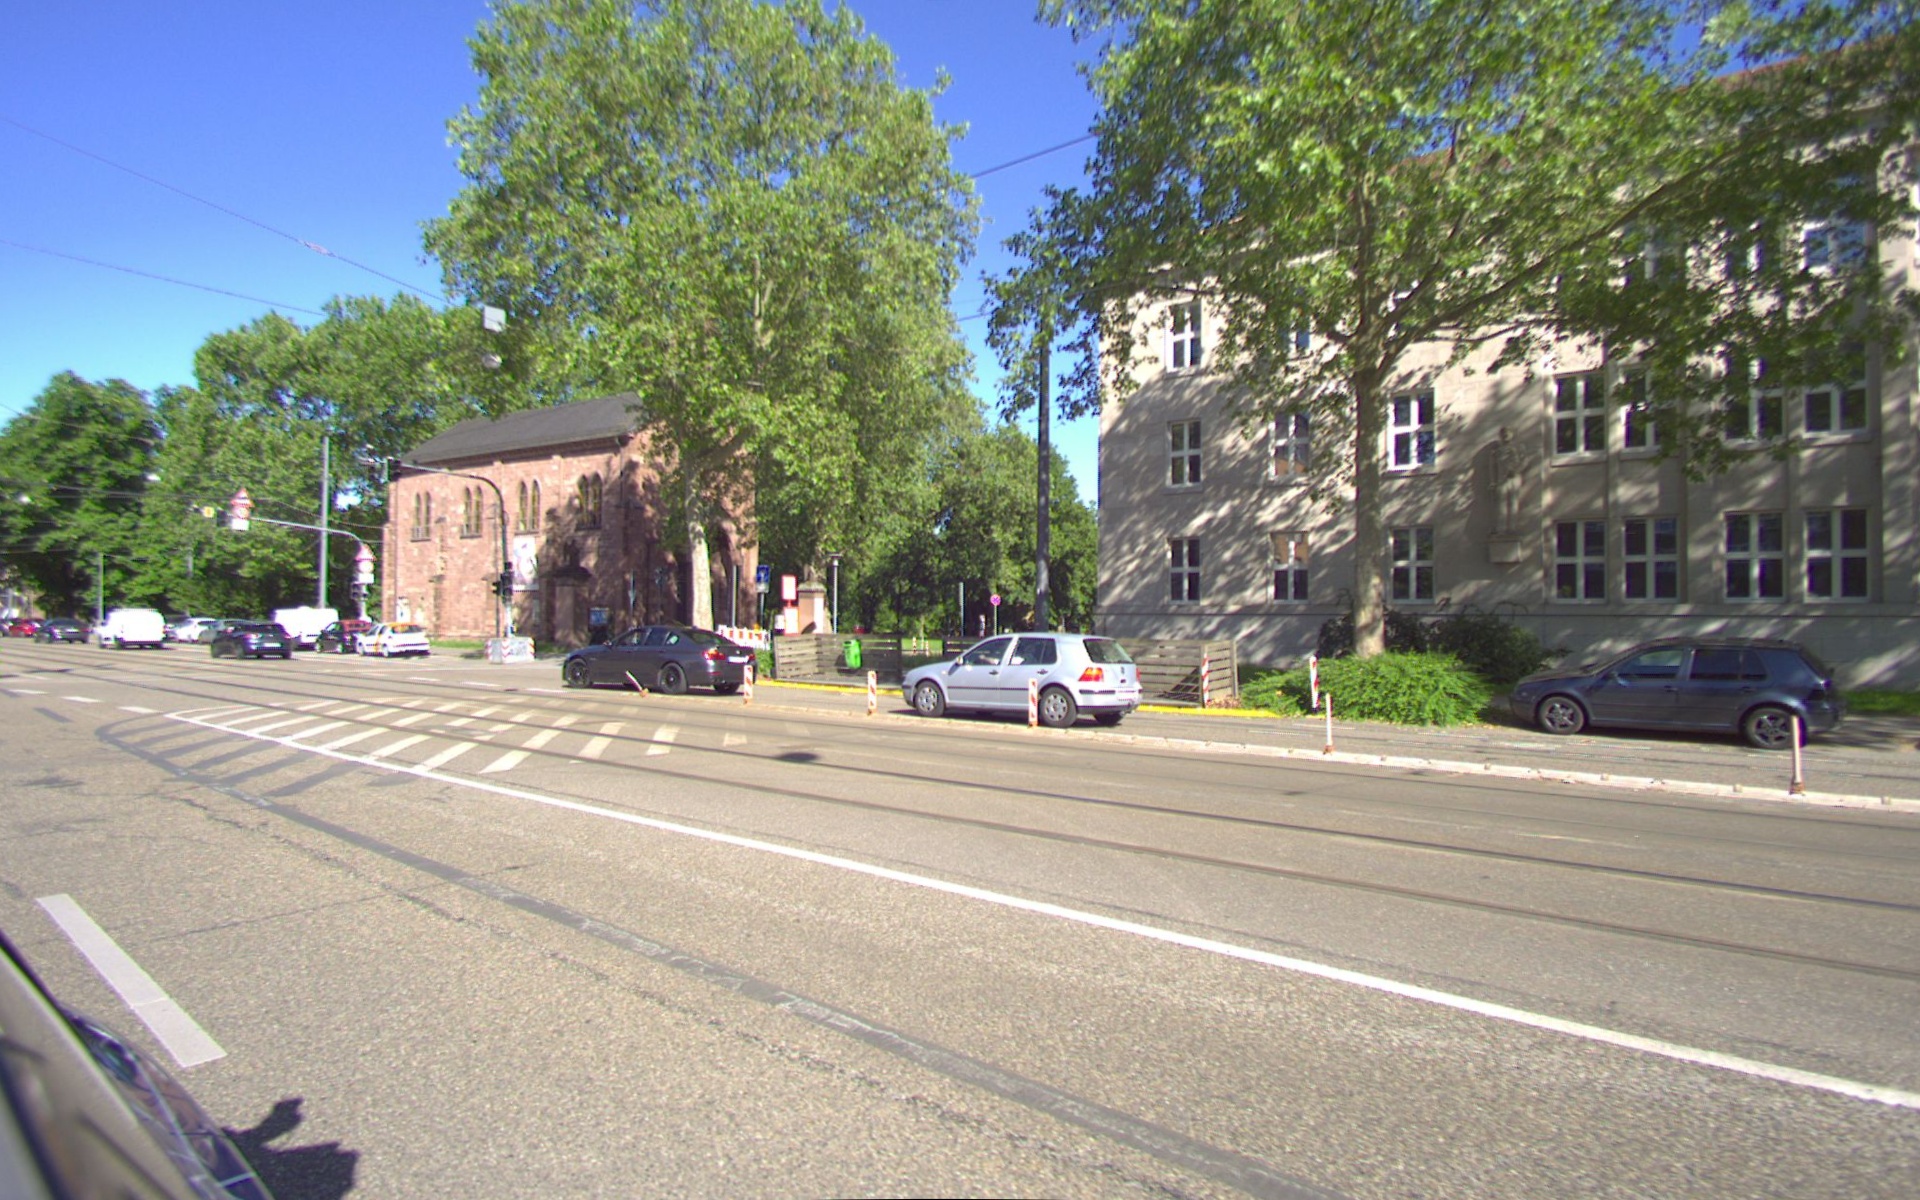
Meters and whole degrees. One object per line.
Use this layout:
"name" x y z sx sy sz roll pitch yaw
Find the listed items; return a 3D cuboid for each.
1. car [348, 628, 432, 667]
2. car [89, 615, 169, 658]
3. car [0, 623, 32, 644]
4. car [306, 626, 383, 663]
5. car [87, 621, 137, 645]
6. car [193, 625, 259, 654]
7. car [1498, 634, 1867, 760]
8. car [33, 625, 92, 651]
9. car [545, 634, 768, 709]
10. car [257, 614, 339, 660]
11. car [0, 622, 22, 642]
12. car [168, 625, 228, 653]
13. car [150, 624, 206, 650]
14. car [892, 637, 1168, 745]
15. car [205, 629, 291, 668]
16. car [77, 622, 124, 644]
"car" -24.191 1.992 42.912 3.671 1.586 1.758 -1 -3 37
"car" -39.651 1.740 48.273 4.513 1.906 2.040 -1 -4 39
"car" -72.308 2.517 77.092 4.302 1.563 1.773 -1 -2 39
"car" -28.063 1.999 46.103 3.855 1.563 1.773 -1 -2 38
"car" -57.666 2.249 68.825 4.302 1.563 1.773 -1 -2 39
"car" -40.276 2.148 55.506 4.300 1.563 1.774 -1 -2 37
"car" 10.368 1.307 14.835 4.181 1.559 1.656 -1 -2 37
"car" -51.431 2.173 57.981 4.371 1.440 1.775 -1 -2 39
"car" -6.770 1.528 22.445 4.940 1.464 1.817 0 -3 30
"car" -32.034 1.775 48.930 4.585 2.113 1.898 -1 -2 37
"car" -76.110 2.547 80.330 4.302 1.563 1.773 -1 -2 39
"car" -44.448 2.243 58.969 4.302 1.563 1.773 -1 -2 39
"car" -48.206 2.249 62.376 4.302 1.563 1.773 -1 -2 39
"car" 1.035 1.360 16.215 4.168 1.464 1.811 -1 -3 40
"car" -27.152 1.827 38.541 4.083 1.423 1.600 -2 -2 38
"car" -61.664 2.343 72.568 4.302 1.563 1.773 -1 -2 39
